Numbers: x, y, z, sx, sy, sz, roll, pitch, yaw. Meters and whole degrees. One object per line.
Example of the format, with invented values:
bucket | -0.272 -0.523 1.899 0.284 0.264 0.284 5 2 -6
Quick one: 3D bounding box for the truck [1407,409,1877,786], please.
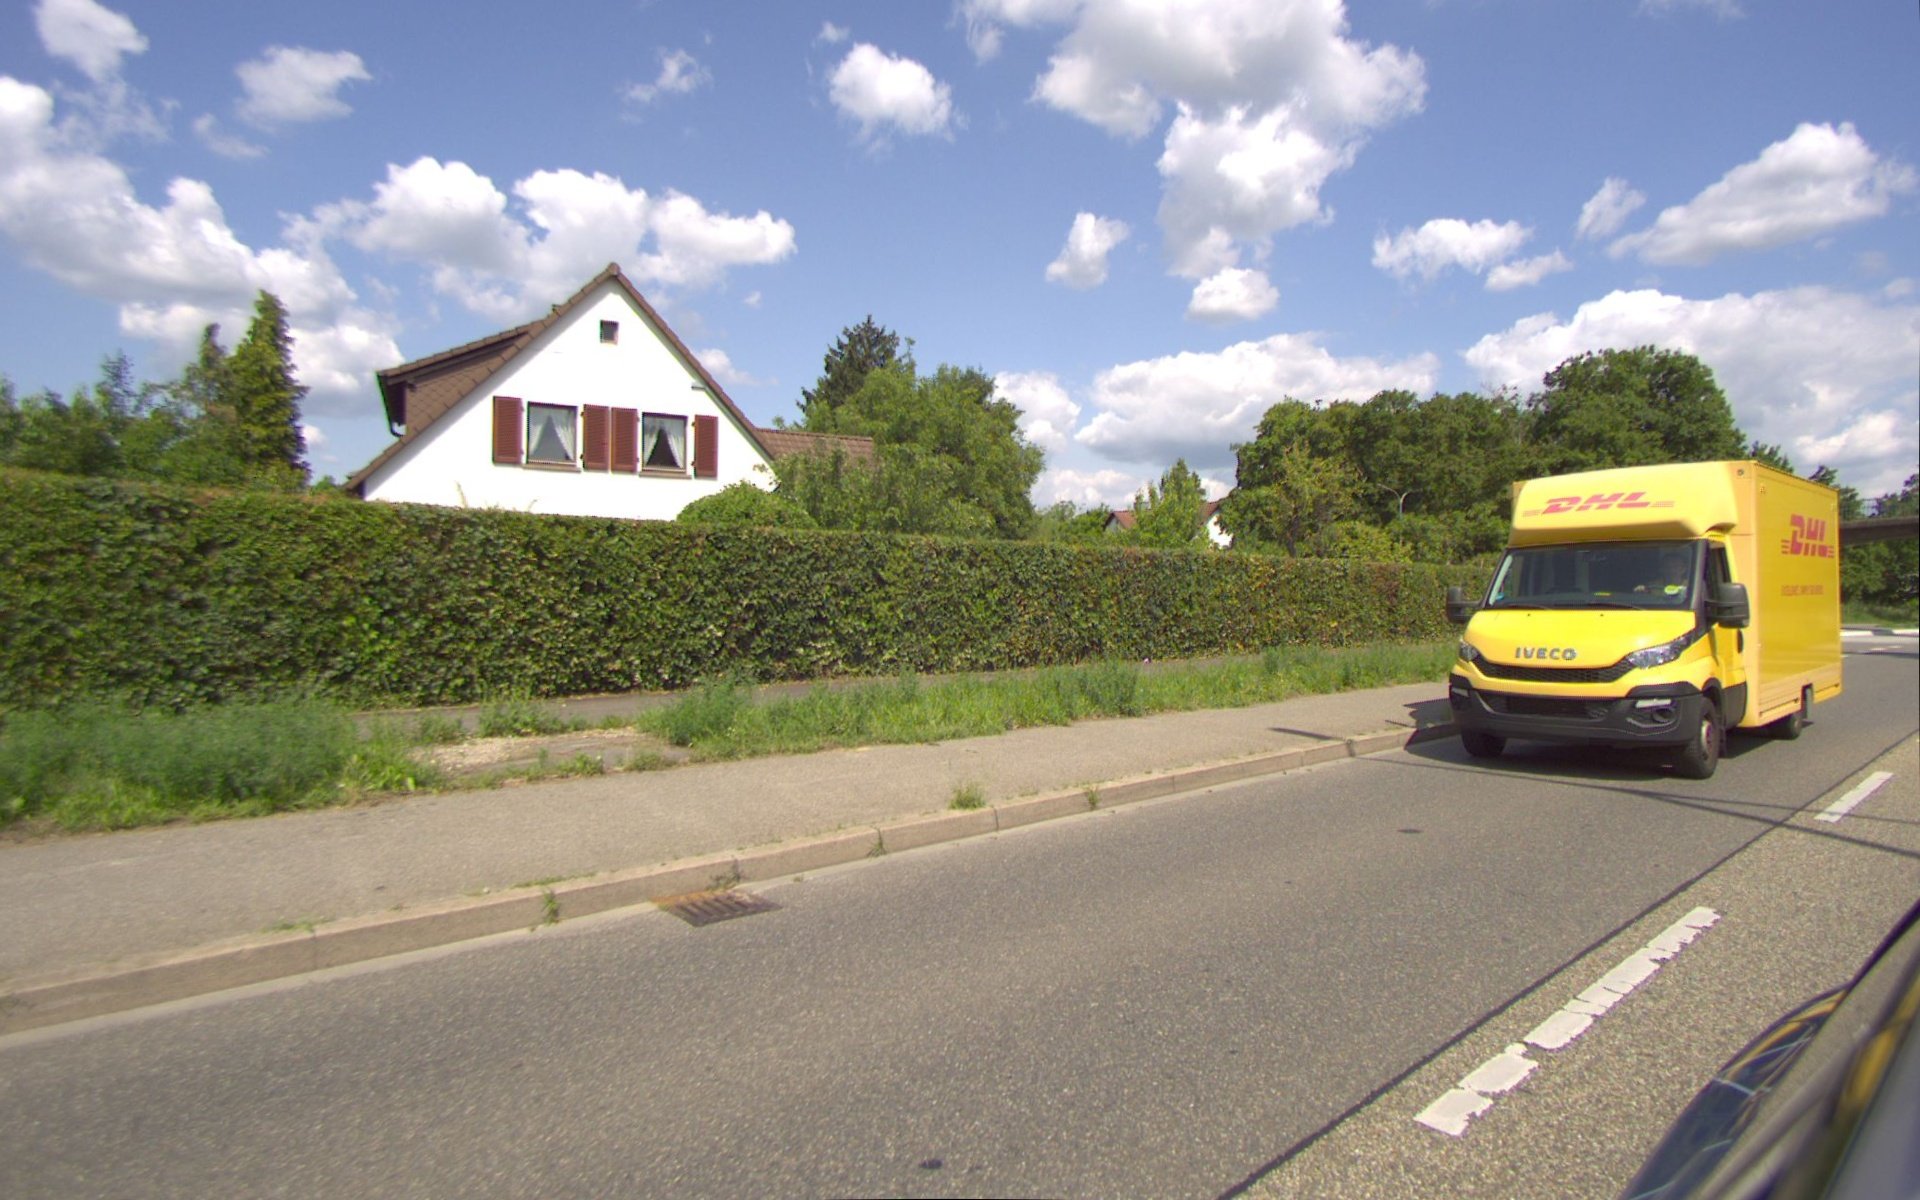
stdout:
truck | 7.974 -0.024 11.256 7.886 2.917 2.269 0 -1 -40
